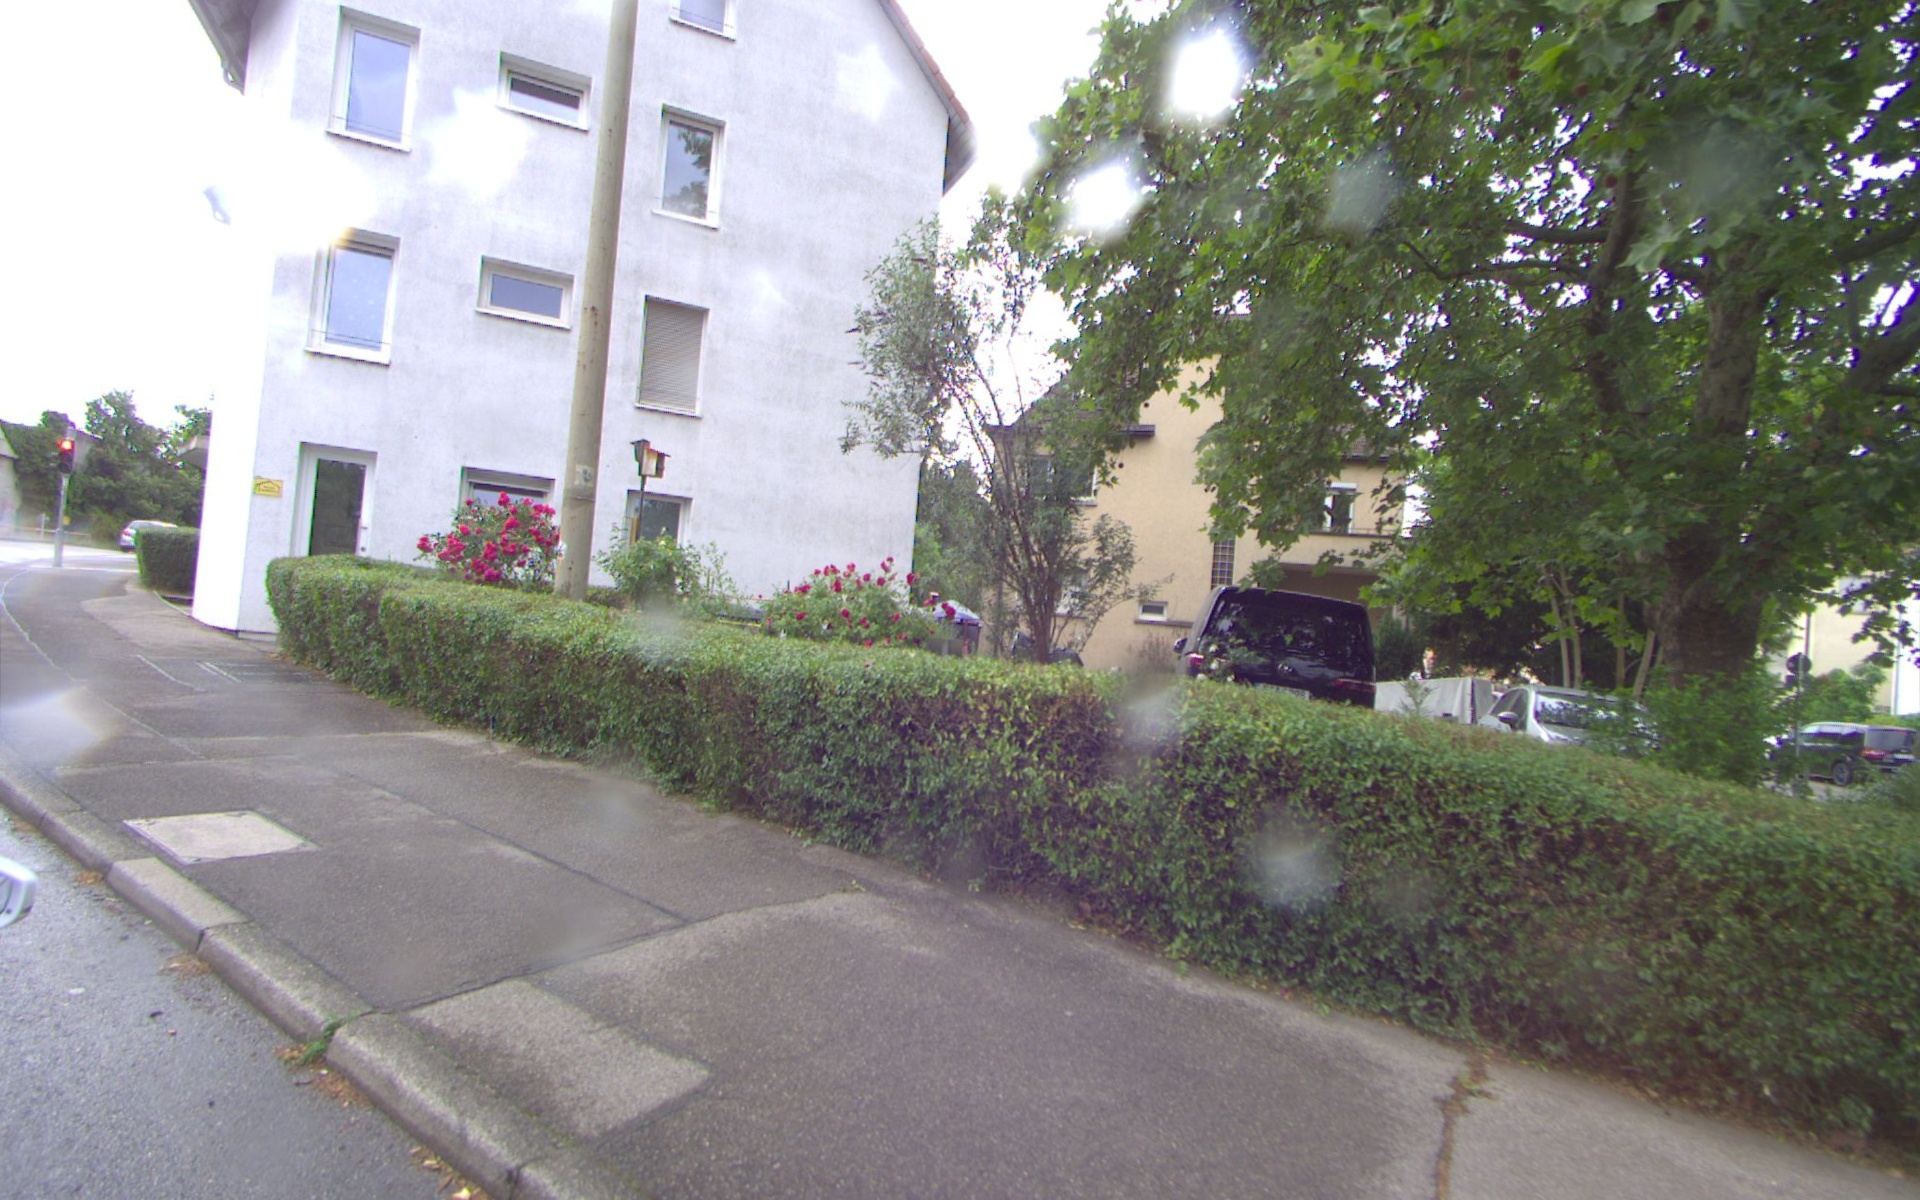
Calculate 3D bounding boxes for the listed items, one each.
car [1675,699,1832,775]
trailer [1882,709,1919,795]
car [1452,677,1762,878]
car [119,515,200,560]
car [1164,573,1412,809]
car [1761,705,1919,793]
[{"bbox_3d":[26.116,4.449,33.361,1.962,1.861,4.584,6,-1,9],"label":"car"},{"bbox_3d":[24.458,3.840,24.106,1.640,2.038,3.494,6,-1,8],"label":"trailer"},{"bbox_3d":[7.085,1.819,11.532,1.788,1.599,4.003,6,-1,17],"label":"car"},{"bbox_3d":[-35.338,-2.730,44.531,1.977,1.572,3.974,7,-2,-28],"label":"car"},{"bbox_3d":[3.458,0.929,11.499,1.962,1.955,4.419,6,-1,11],"label":"car"},{"bbox_3d":[25.015,4.120,28.118,1.962,1.861,4.584,6,-1,9],"label":"car"}]
